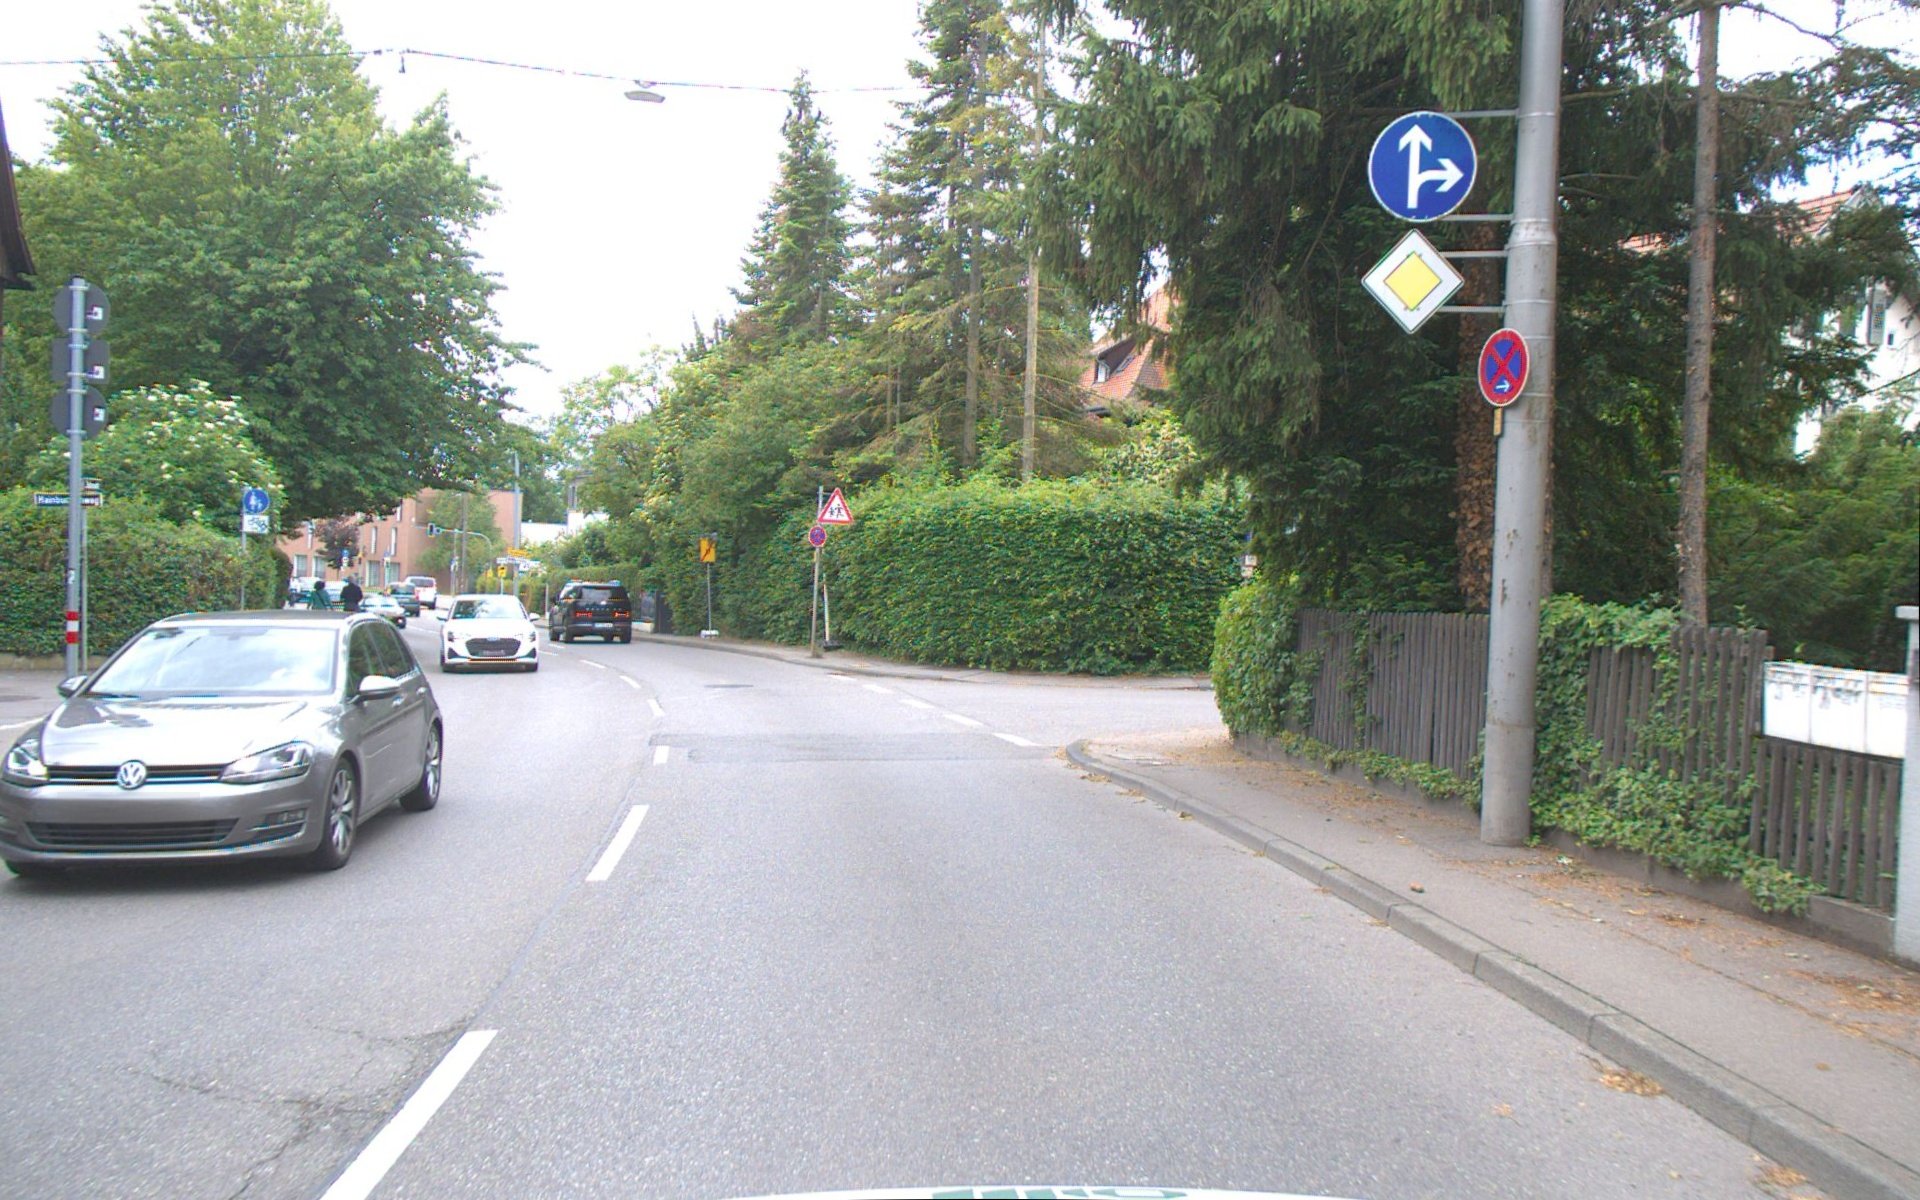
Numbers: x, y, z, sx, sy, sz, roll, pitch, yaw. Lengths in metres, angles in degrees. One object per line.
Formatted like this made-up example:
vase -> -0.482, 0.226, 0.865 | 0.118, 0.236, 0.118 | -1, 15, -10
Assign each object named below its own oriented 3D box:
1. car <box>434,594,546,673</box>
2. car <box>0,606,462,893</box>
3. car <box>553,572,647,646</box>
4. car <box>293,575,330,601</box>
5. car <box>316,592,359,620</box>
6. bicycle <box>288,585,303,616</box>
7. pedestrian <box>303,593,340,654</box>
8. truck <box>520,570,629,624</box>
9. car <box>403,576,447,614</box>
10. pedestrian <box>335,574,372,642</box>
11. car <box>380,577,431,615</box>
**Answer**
car -> -9.367, 0.637, 32.788 | 1.782, 1.468, 4.172 | 0, -1, -21
car -> -4.438, 0.765, 10.356 | 1.876, 1.422, 3.903 | 0, 0, -7
car -> -10.464, 0.238, 47.875 | 1.966, 1.914, 3.974 | 2, 1, -22
car -> -42.351, -0.798, 107.955 | 1.811, 1.659, 4.243 | 0, 1, -28
car -> -33.892, 0.304, 90.008 | 1.701, 1.497, 3.497 | 0, 0, -29
bicycle -> -38.736, 0.037, 96.416 | 0.749, 1.775, 1.857 | 0, 0, -24
pedestrian -> -15.972, 0.581, 41.370 | 0.664, 1.474, 0.747 | -1, 1, -38
truck -> -37.136, -0.223, 160.128 | 3.066, 4.817, 11.774 | 2, 0, 29
car -> -32.586, -0.344, 100.794 | 1.928, 2.048, 4.415 | 5, 0, -12
pedestrian -> -15.372, 0.201, 41.918 | 0.624, 1.691, 0.907 | 2, -2, -37
car -> -27.004, -0.192, 80.626 | 1.860, 1.736, 3.988 | 2, 0, -12
